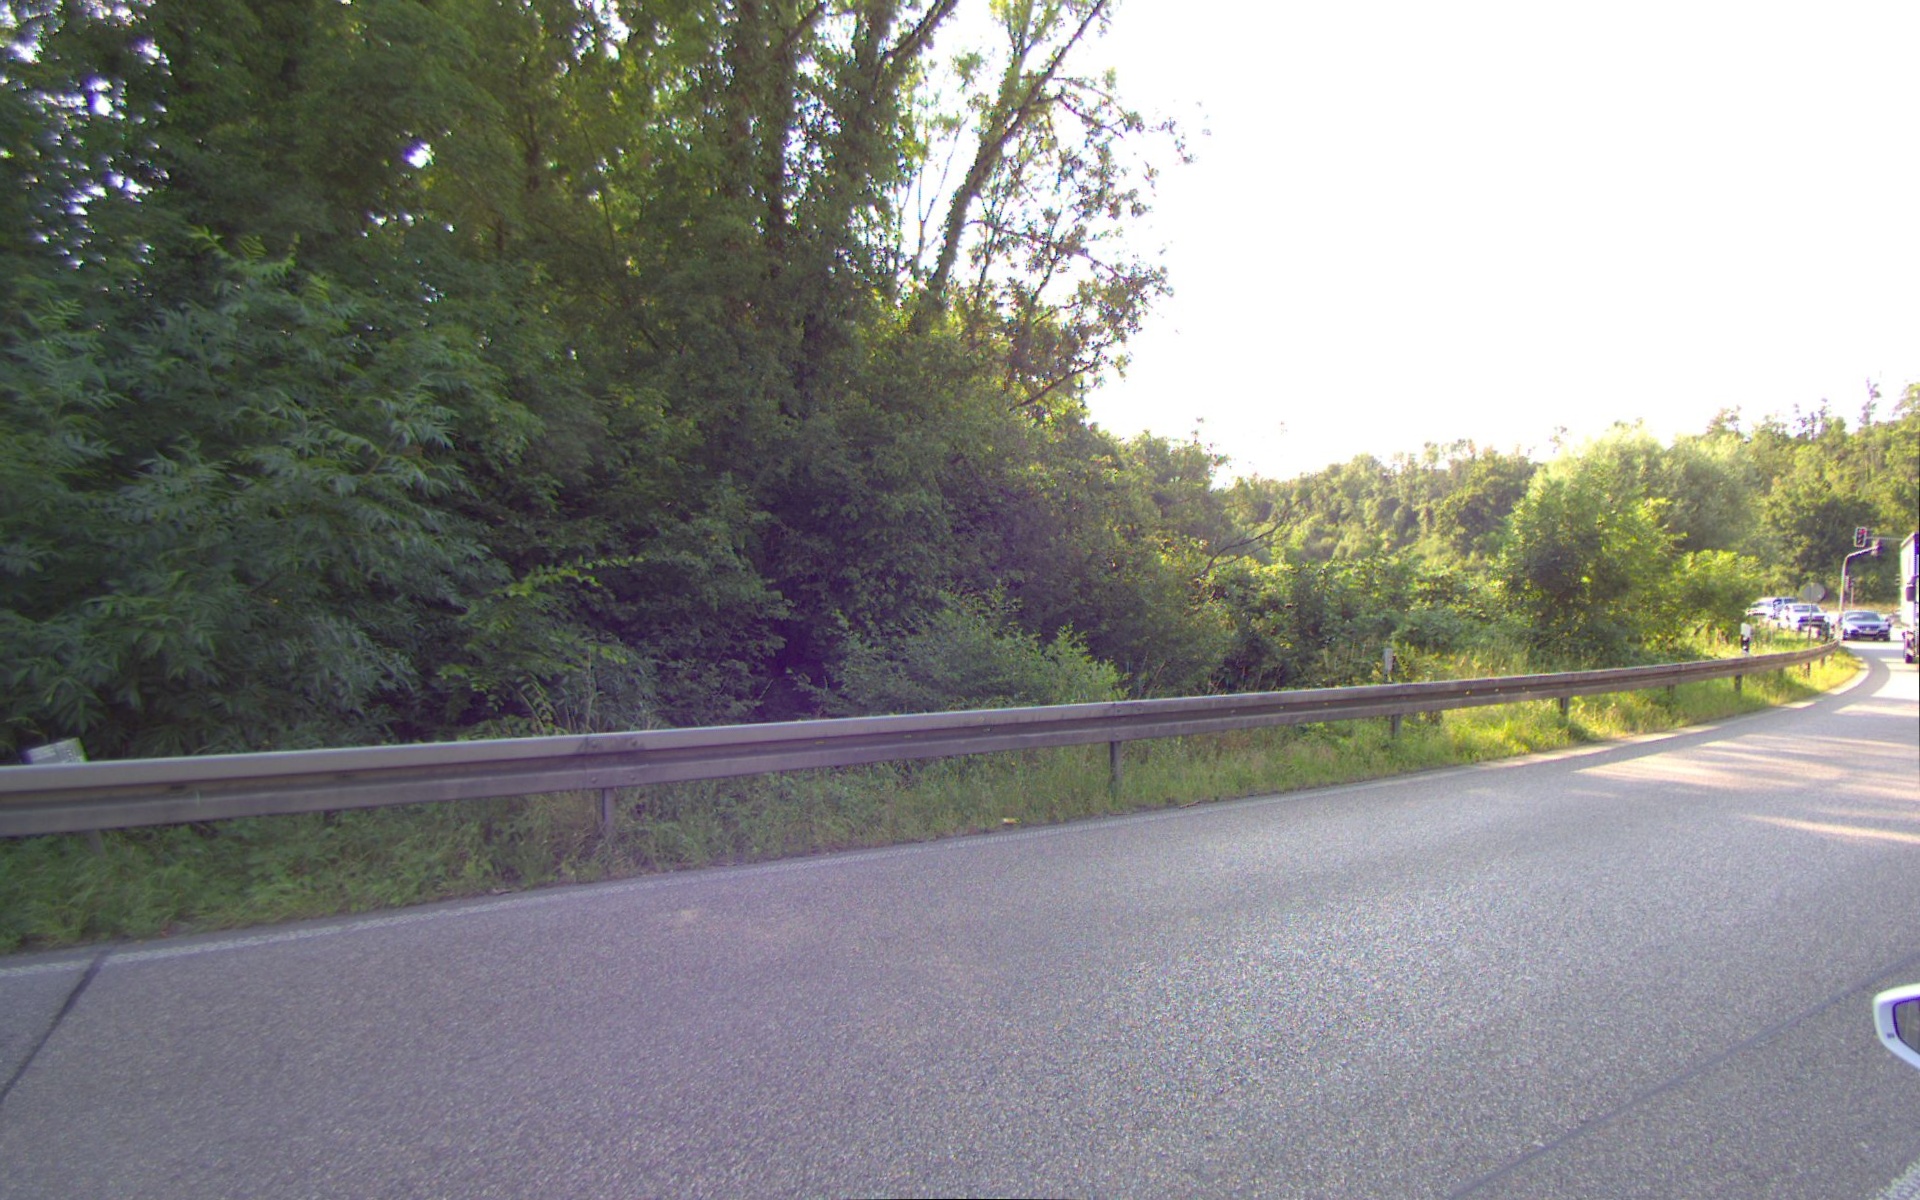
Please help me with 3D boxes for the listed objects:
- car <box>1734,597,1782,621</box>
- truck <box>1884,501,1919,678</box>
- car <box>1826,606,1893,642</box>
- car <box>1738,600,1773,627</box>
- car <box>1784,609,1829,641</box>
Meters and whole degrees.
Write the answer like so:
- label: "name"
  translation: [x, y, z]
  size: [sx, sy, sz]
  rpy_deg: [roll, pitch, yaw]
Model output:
- label: "car"
  translation: [67.281, 0.757, 84.659]
  size: [3.954, 1.876, 1.858]
  rpy_deg: [1, 2, -31]
- label: "truck"
  translation: [29.483, -0.160, 29.327]
  size: [2.976, 4.646, 10.194]
  rpy_deg: [2, 0, 39]
- label: "car"
  translation: [43.746, 1.141, 48.929]
  size: [1.842, 1.577, 3.988]
  rpy_deg: [3, 2, 34]
- label: "car"
  translation: [61.155, 1.032, 77.197]
  size: [1.846, 1.876, 3.979]
  rpy_deg: [4, 2, 41]
- label: "car"
  translation: [50.875, 1.468, 60.445]
  size: [1.844, 1.876, 3.985]
  rpy_deg: [0, 0, 37]
